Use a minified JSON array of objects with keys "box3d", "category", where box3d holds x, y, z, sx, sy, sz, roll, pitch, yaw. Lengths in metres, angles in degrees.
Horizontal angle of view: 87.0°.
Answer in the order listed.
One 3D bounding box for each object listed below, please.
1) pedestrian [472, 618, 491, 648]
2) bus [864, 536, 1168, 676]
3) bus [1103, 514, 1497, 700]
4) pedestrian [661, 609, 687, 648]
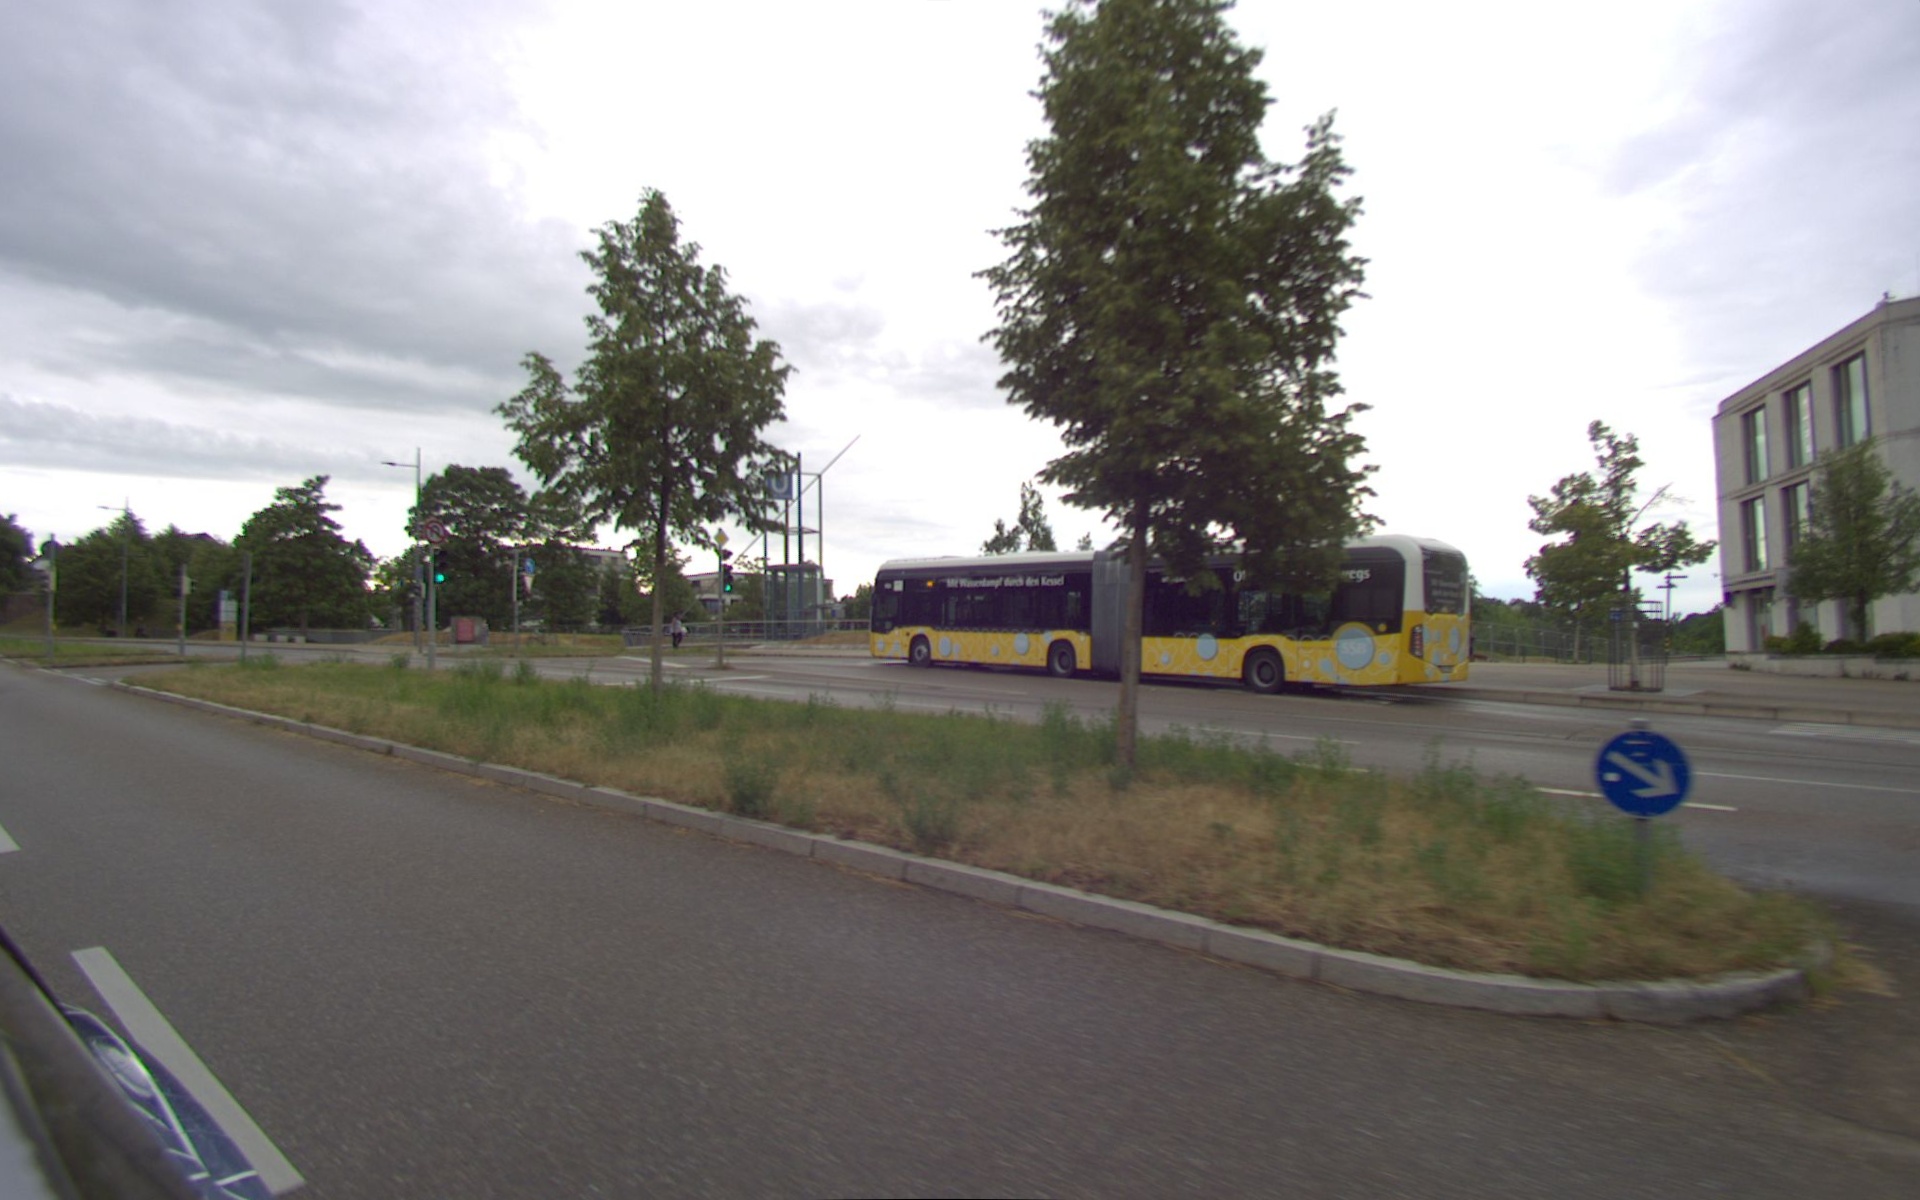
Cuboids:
[{"box3d":[-26.164,1.794,55.326,0.811,1.606,0.608,-4,-4,36],"category":"pedestrian"},{"box3d":[1.231,0.163,29.930,2.787,3.498,9.988,0,0,-41],"category":"bus"},{"box3d":[7.325,0.133,23.053,2.787,3.498,8.242,0,0,-41],"category":"bus"},{"box3d":[-12.133,1.200,42.965,0.669,1.606,0.816,-3,-3,21],"category":"pedestrian"}]
